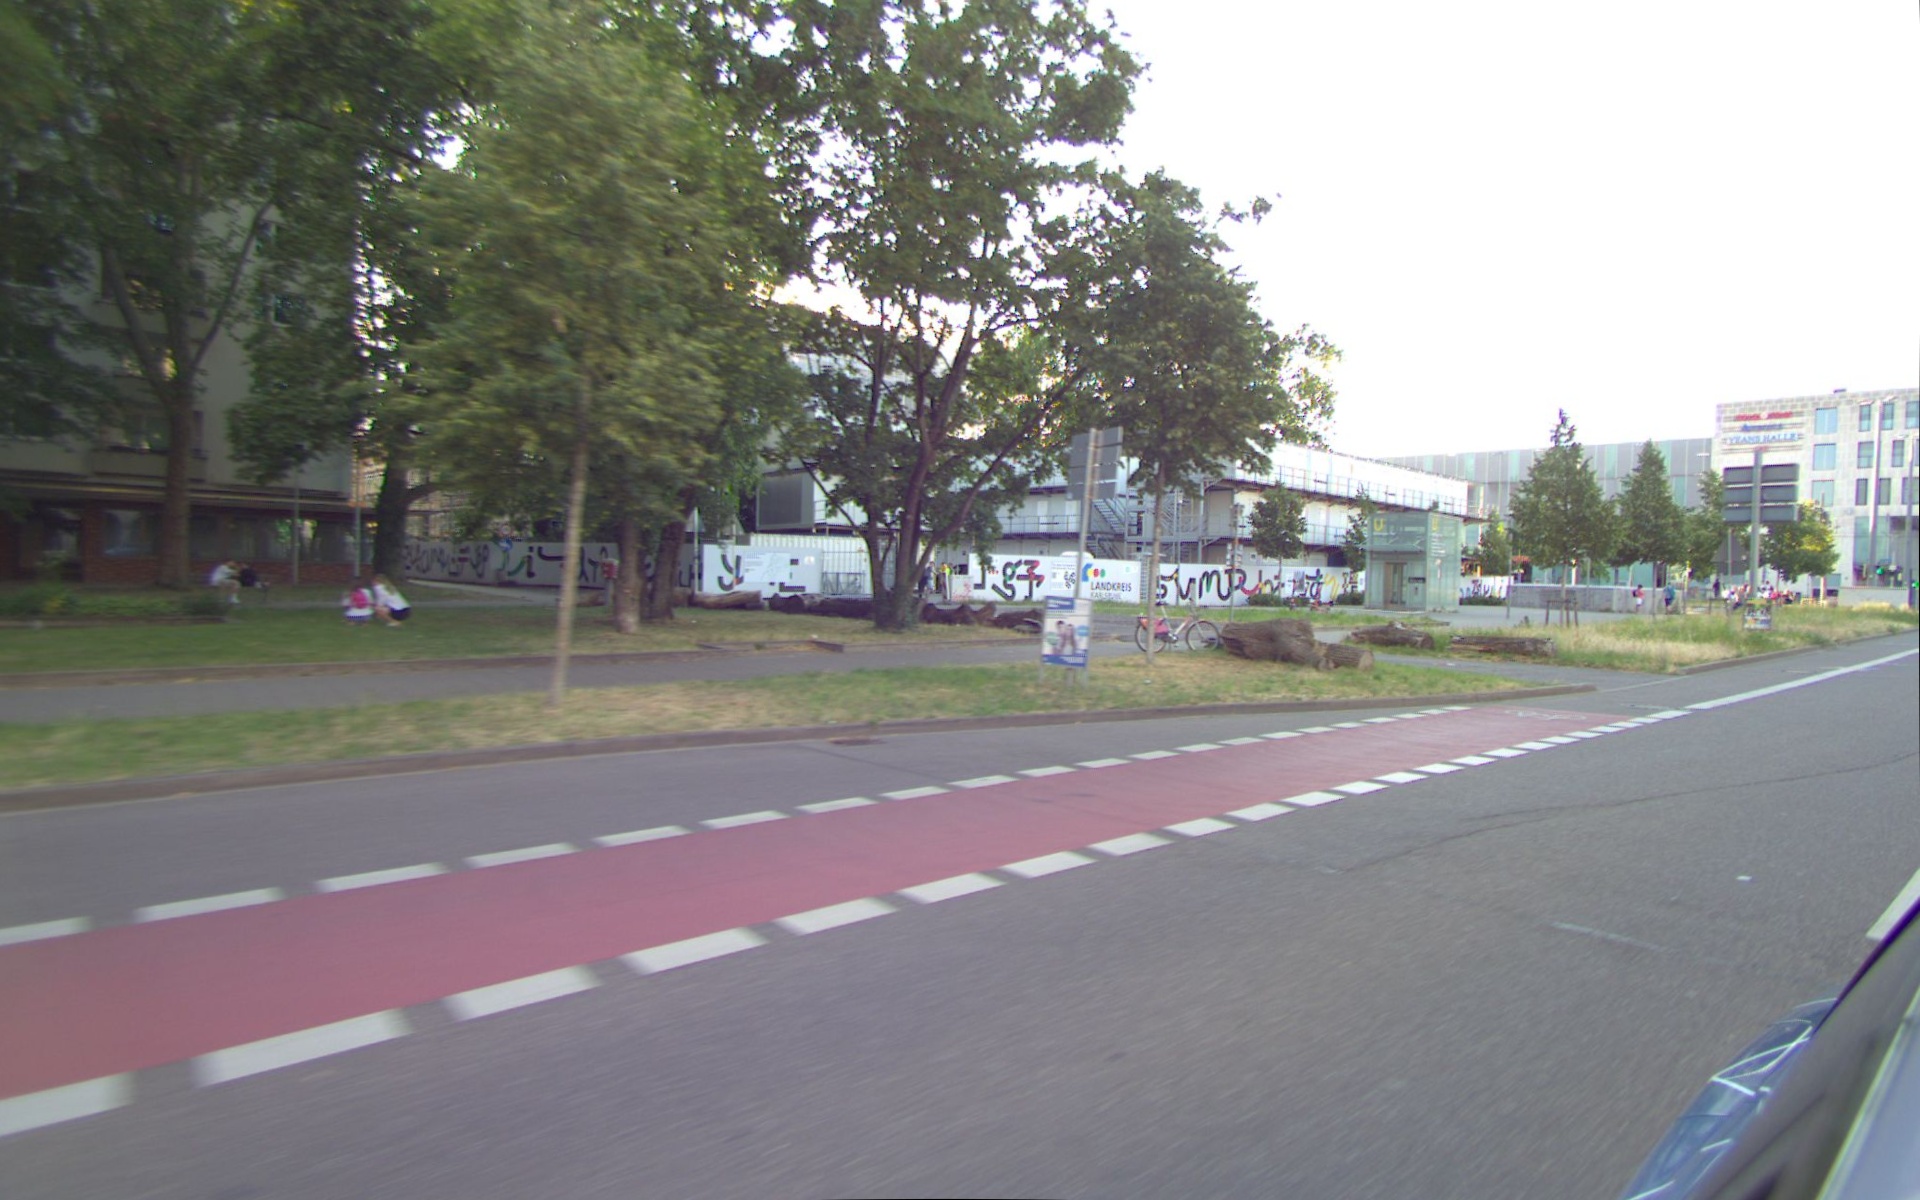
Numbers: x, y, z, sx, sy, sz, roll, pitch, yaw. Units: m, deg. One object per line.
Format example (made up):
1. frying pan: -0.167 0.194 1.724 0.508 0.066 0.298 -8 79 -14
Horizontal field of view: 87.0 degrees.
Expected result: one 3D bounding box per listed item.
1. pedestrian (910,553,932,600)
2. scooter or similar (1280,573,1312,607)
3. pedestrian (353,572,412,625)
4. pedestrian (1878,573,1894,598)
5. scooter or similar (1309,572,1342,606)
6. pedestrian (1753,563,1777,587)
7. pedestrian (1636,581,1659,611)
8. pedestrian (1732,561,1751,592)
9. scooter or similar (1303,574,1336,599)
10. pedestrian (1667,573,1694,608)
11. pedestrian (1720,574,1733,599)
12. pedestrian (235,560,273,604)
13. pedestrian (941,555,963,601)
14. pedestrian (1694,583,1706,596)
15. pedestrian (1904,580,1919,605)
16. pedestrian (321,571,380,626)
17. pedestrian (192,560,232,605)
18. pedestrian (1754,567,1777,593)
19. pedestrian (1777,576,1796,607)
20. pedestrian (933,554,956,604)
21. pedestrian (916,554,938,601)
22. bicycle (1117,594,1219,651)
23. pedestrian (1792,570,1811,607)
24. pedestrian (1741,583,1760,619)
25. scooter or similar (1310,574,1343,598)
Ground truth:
1. pedestrian: -1.613 -0.982 41.902 0.588 1.924 0.771 0 2 -25
2. scooter or similar: 12.811 -0.387 38.570 0.473 1.235 1.550 6 5 42
3. pedestrian: -10.098 -0.035 17.700 0.674 0.895 0.618 2 1 25
4. pedestrian: 66.307 -1.019 72.475 0.855 1.752 0.644 0 2 -39
5. scooter or similar: 13.623 -0.417 37.719 1.374 1.235 0.425 0 5 -40
6. pedestrian: 60.201 -1.858 75.693 0.986 1.744 0.873 1 4 -14
7. pedestrian: 35.731 -0.217 52.598 0.633 1.509 0.762 2 0 -40
8. pedestrian: 44.462 -1.352 57.572 0.748 1.734 0.644 1 1 -38
9. scooter or similar: 18.035 -0.694 50.783 0.466 1.236 1.571 -1 1 -42
10. pedestrian: 38.144 -0.501 53.582 1.027 1.837 0.817 1 1 -35
11. pedestrian: 58.476 -1.055 77.239 0.575 1.877 0.604 0 2 -36
12. pedestrian: -19.586 -0.505 28.076 0.786 1.178 0.755 3 3 44
13. pedestrian: -0.334 -0.898 41.456 0.588 1.843 0.771 0 2 -25
14. pedestrian: 56.943 -0.795 77.913 0.648 0.975 0.644 3 3 44
15. pedestrian: 67.391 -0.532 71.637 0.855 1.680 0.644 0 2 -39
16. pedestrian: -10.309 -0.041 17.126 0.674 0.895 0.588 2 2 25
17. pedestrian: -20.234 -0.480 27.384 0.786 1.178 0.755 3 3 44
18. pedestrian: 60.948 -1.516 76.578 0.986 1.875 0.896 0 5 -28
19. pedestrian: 47.765 -0.504 58.463 0.855 1.733 0.644 0 2 -40
20. pedestrian: -0.615 -0.846 39.772 0.588 1.943 0.771 0 2 -25
21. pedestrian: -1.351 -0.927 40.912 0.588 1.879 0.771 0 2 -25
22. bicycle: 3.968 0.428 19.282 1.858 1.017 0.497 1 4 -21
23. pedestrian: 45.569 -0.608 54.791 0.608 1.957 0.644 0 2 -40
24. pedestrian: 43.453 0.065 55.611 0.608 1.957 0.644 -1 2 -38
25. scooter or similar: 18.595 -0.720 51.363 0.466 1.236 1.571 -1 1 -42
